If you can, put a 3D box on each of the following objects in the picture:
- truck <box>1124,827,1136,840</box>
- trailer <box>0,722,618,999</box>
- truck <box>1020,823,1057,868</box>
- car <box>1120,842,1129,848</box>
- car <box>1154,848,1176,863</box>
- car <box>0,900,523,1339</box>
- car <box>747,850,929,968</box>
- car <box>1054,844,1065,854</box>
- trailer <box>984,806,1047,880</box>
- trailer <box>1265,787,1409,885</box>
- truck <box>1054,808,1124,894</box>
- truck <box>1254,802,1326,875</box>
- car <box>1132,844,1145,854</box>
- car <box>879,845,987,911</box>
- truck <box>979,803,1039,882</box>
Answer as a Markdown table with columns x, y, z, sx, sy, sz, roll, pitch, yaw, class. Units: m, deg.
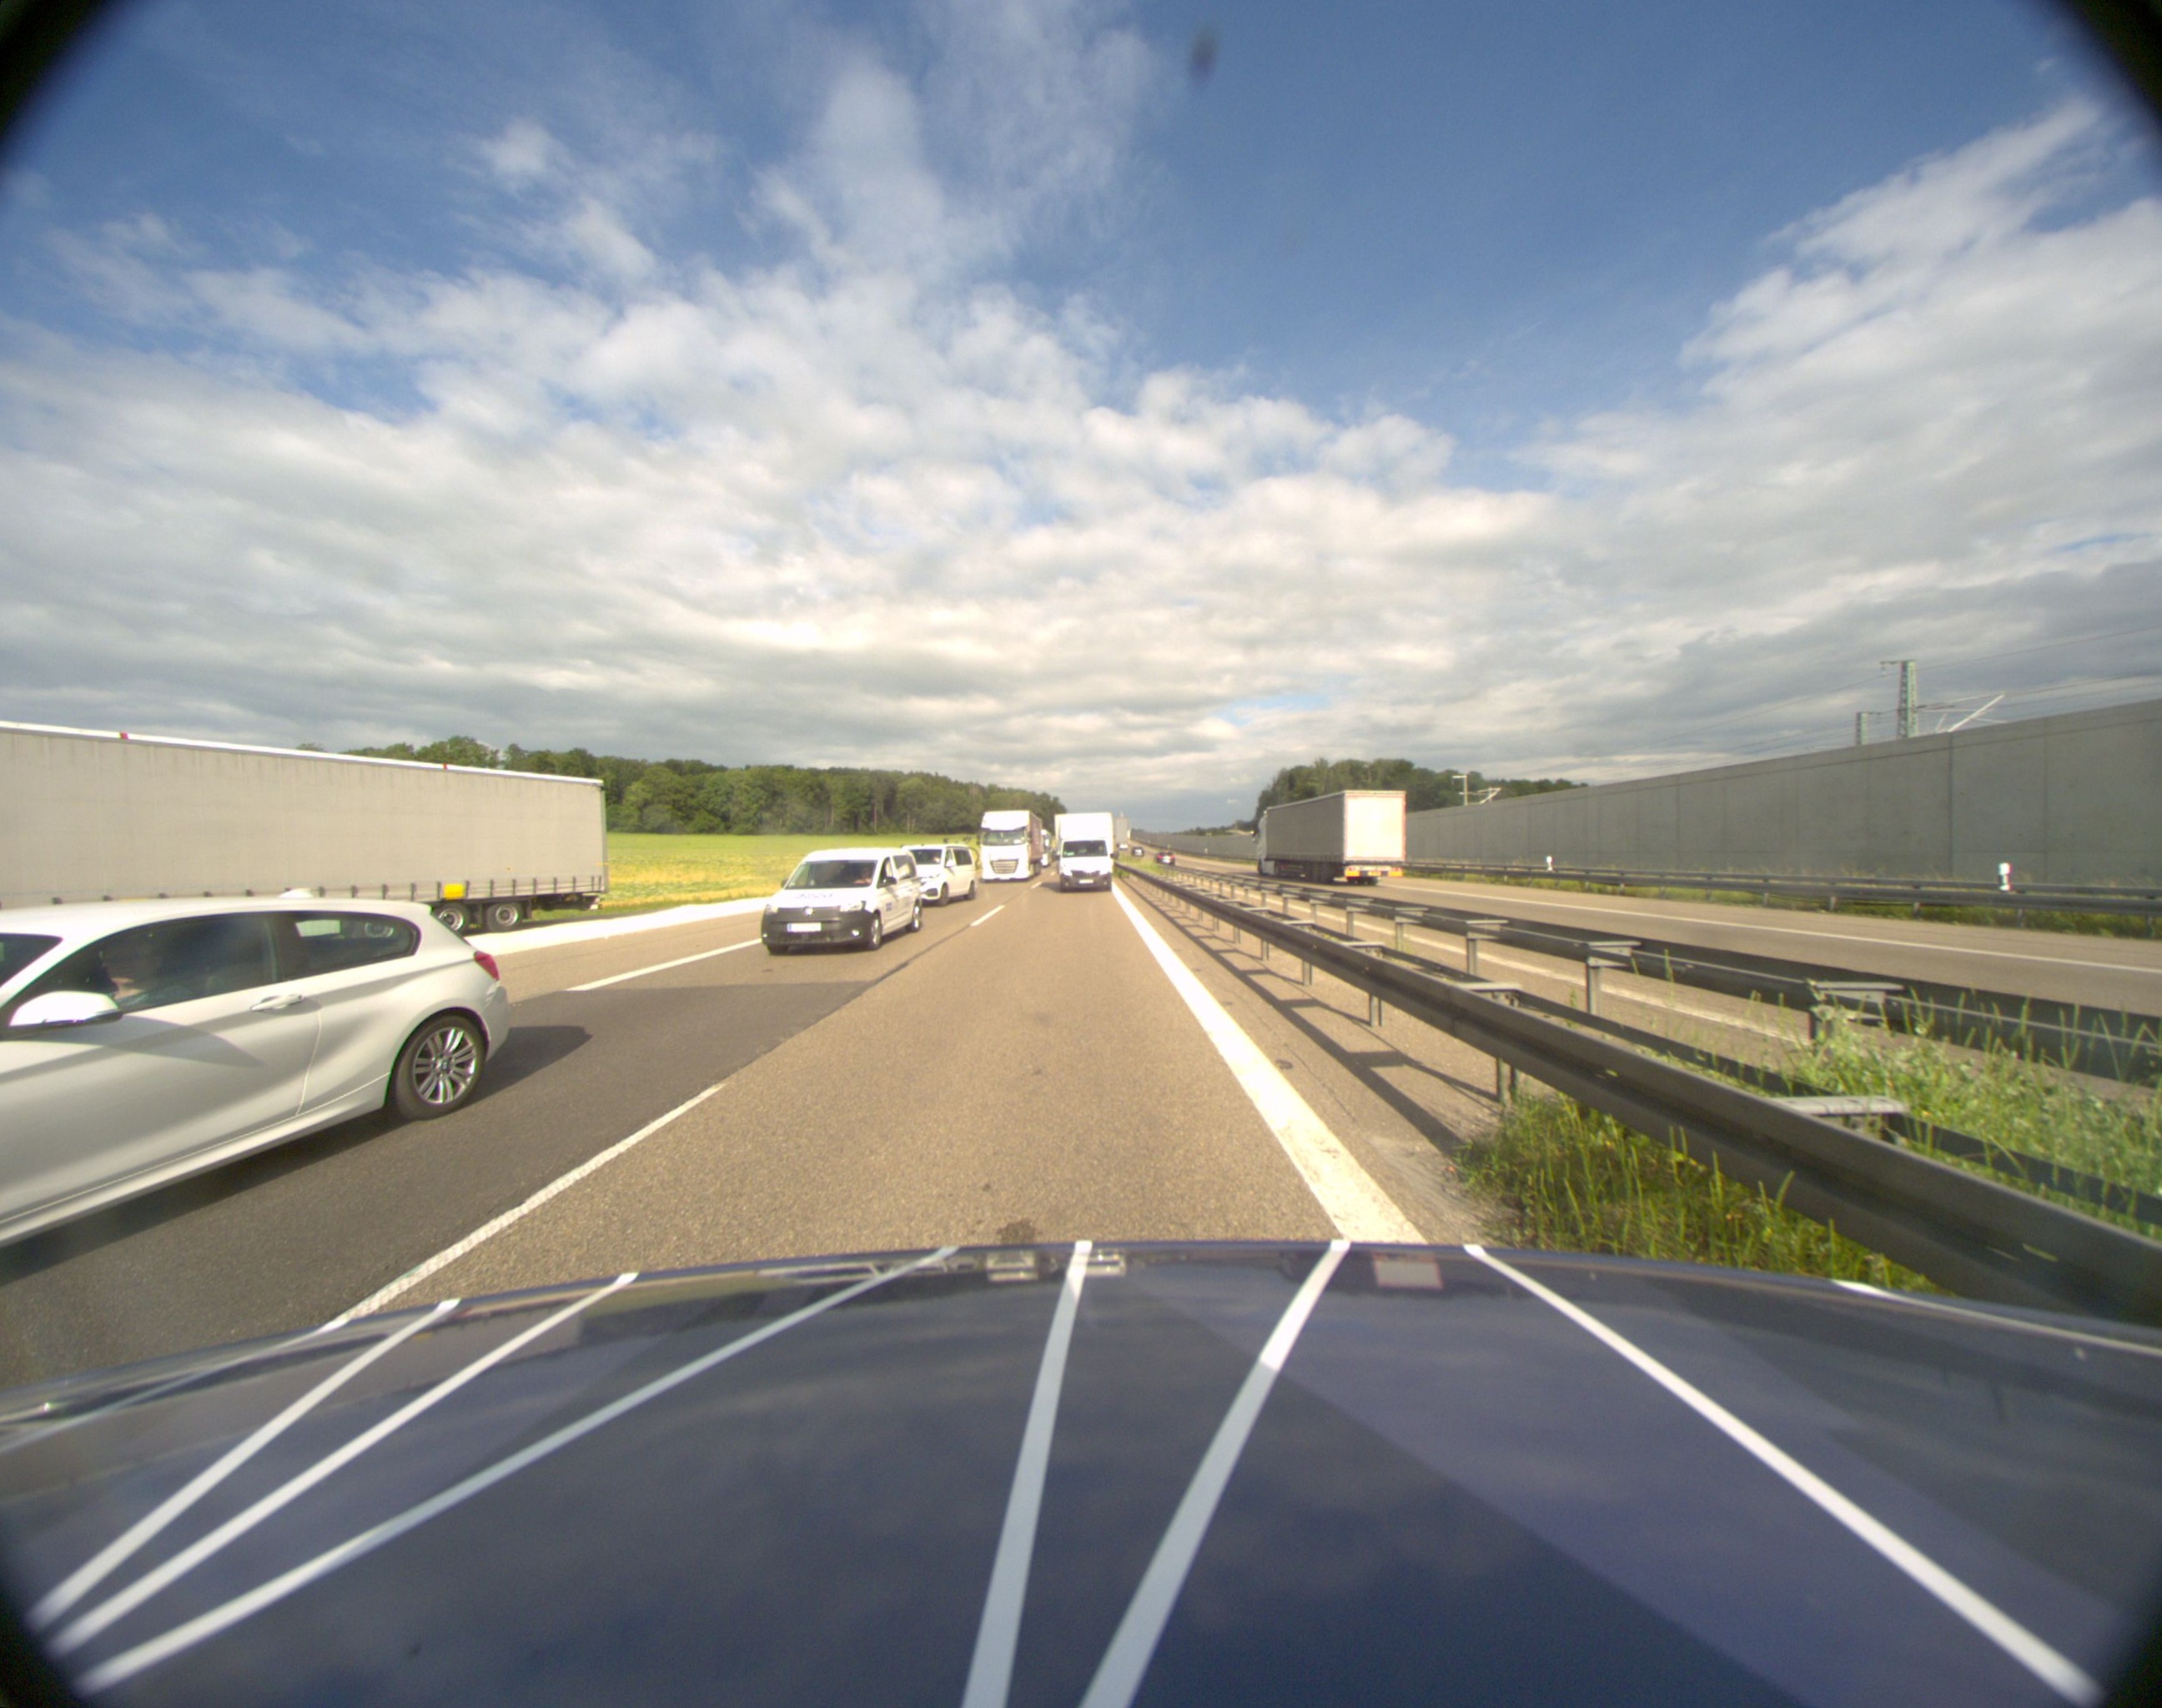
| x | y | z | sx | sy | sz | roll | pitch | yaw | class |
| --- | --- | --- | --- | --- | --- | --- | --- | --- | --- |
| 15.829 | -6.529 | 244.551 | 2.952 | 4.037 | 11.745 | -2 | 1 | 0 | truck |
| -16.472 | 0.095 | 15.374 | 2.739 | 4.136 | 13.843 | -2 | 0 | 15 | trailer |
| -4.081 | -0.811 | 76.031 | 2.946 | 4.094 | 12.523 | -1 | 0 | 0 | truck |
| 9.618 | -1.996 | 169.021 | 1.721 | 1.454 | 4.449 | -1 | 0 | 0 | car |
| 8.122 | 0.132 | 73.864 | 1.637 | 1.393 | 3.896 | -1 | 0 | 0 | car |
| -4.810 | 1.084 | 3.218 | 1.708 | 1.424 | 4.231 | -3 | 0 | 0 | car |
| -4.248 | 0.845 | 14.149 | 1.729 | 1.746 | 4.702 | -3 | 0 | 1 | car |
| -3.942 | -0.925 | 141.467 | 1.707 | 1.746 | 4.676 | -3 | 0 | 1 | car |
| -4.007 | -0.760 | 50.108 | 2.742 | 4.137 | 14.016 | -2 | 1 | 0 | trailer |
| 12.274 | -0.794 | 38.385 | 2.690 | 4.014 | 13.790 | -1 | 0 | 0 | trailer |
| 0.313 | -0.144 | 34.337 | 2.500 | 3.082 | 12.037 | -2 | 0 | 0 | truck |
| 12.309 | -0.866 | 45.272 | 2.692 | 4.045 | 5.878 | -1 | 1 | 0 | truck |
| 8.894 | -0.774 | 118.211 | 1.720 | 1.586 | 4.449 | -1 | 0 | 1 | car |
| -4.758 | 0.683 | 25.319 | 1.798 | 1.914 | 5.270 | -2 | 0 | 8 | car |
| -4.014 | -0.650 | 43.743 | 2.736 | 4.150 | 5.766 | -2 | 1 | 0 | truck |
